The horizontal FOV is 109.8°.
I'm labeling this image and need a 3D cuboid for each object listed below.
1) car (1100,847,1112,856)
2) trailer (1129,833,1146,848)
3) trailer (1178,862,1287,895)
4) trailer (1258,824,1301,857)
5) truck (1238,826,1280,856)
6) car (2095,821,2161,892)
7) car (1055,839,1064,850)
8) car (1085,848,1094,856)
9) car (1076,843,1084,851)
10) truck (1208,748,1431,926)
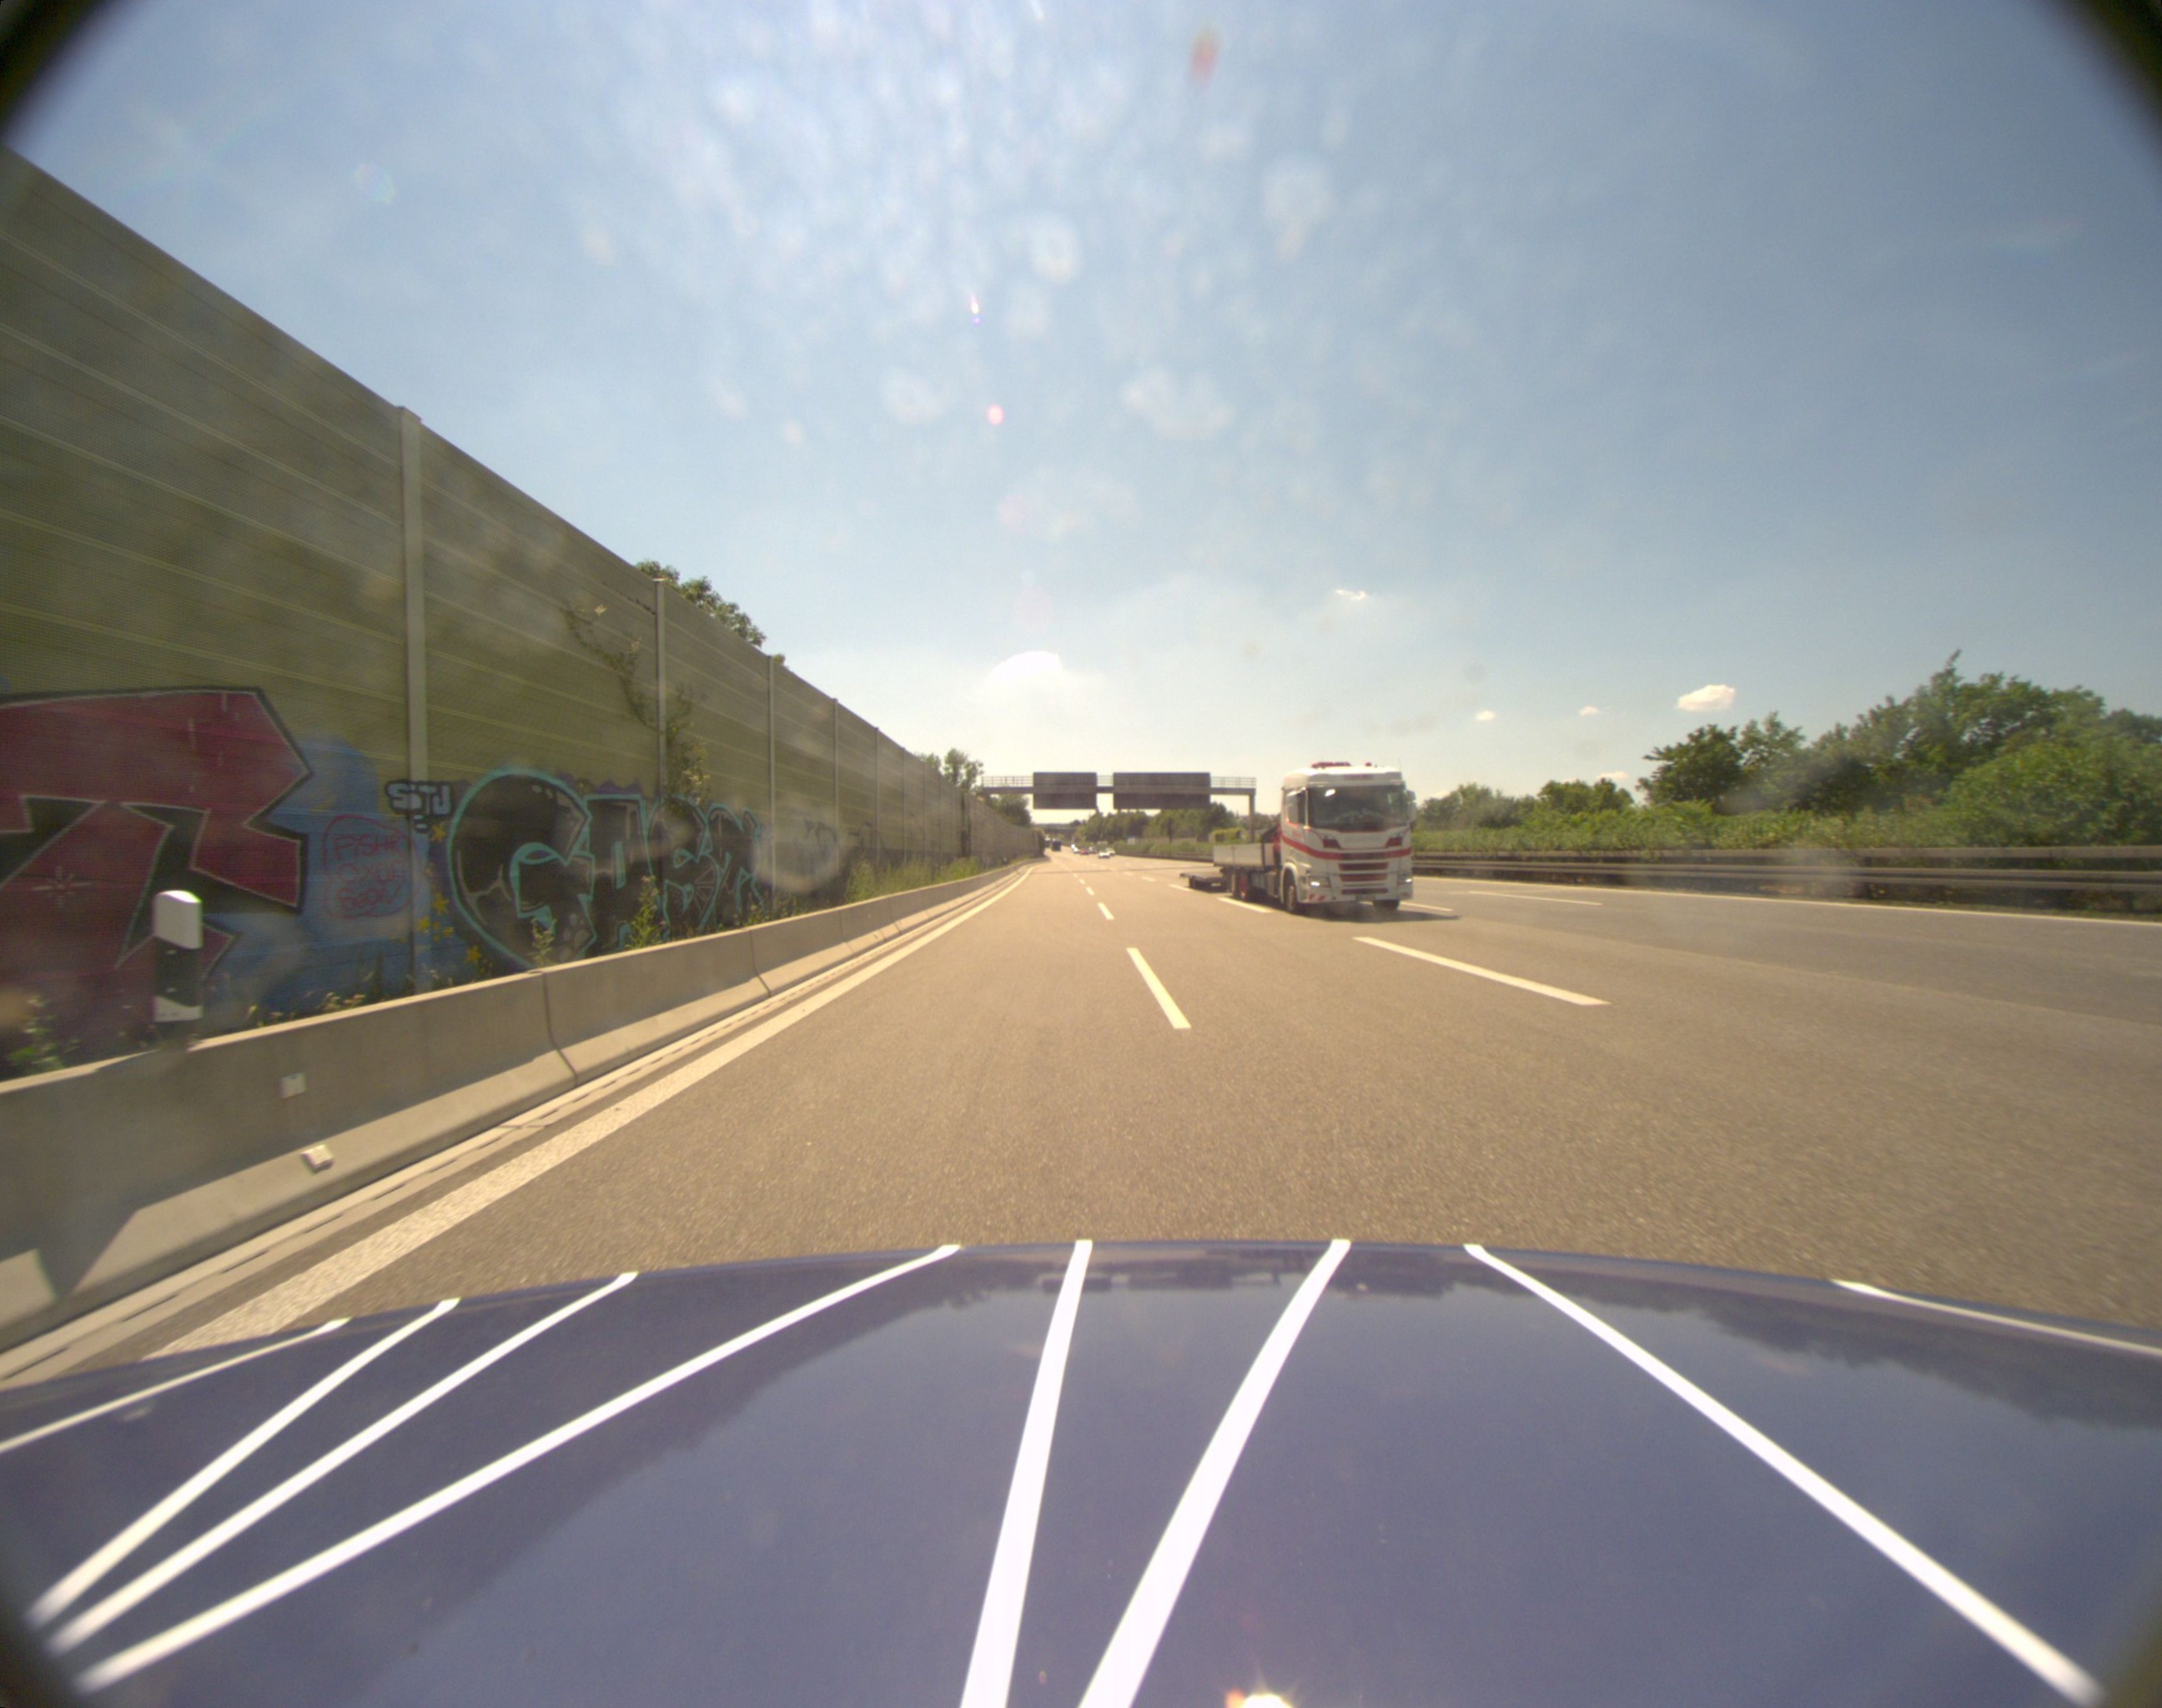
[{"bbox_3d":[4.492,-0.481,136.391,1.787,1.494,4.169,-1,1,-3],"label":"car"},{"bbox_3d":[16.426,-4.005,221.872,2.612,4.110,14.221,-1,1,-4],"label":"trailer"},{"bbox_3d":[5.891,0.904,30.995,2.722,0.929,7.757,-2,1,-1],"label":"trailer"},{"bbox_3d":[25.548,-1.714,98.225,2.931,3.944,8.655,-2,1,-3],"label":"trailer"},{"bbox_3d":[25.046,-1.803,107.743,3.010,3.944,10.317,-2,1,-3],"label":"truck"},{"bbox_3d":[25.473,0.038,16.091,1.786,1.616,4.669,-2,0,0],"label":"car"},{"bbox_3d":[-6.779,-2.992,240.512,2.116,3.283,6.442,-2,0,-5],"label":"car"},{"bbox_3d":[1.889,-0.411,176.715,1.998,1.832,4.000,-2,0,0],"label":"car"},{"bbox_3d":[-0.312,-1.785,200.262,1.998,1.832,4.000,-2,0,0],"label":"car"},{"bbox_3d":[6.062,-0.431,21.770,2.722,3.780,10.668,-2,1,-1],"label":"truck"}]
